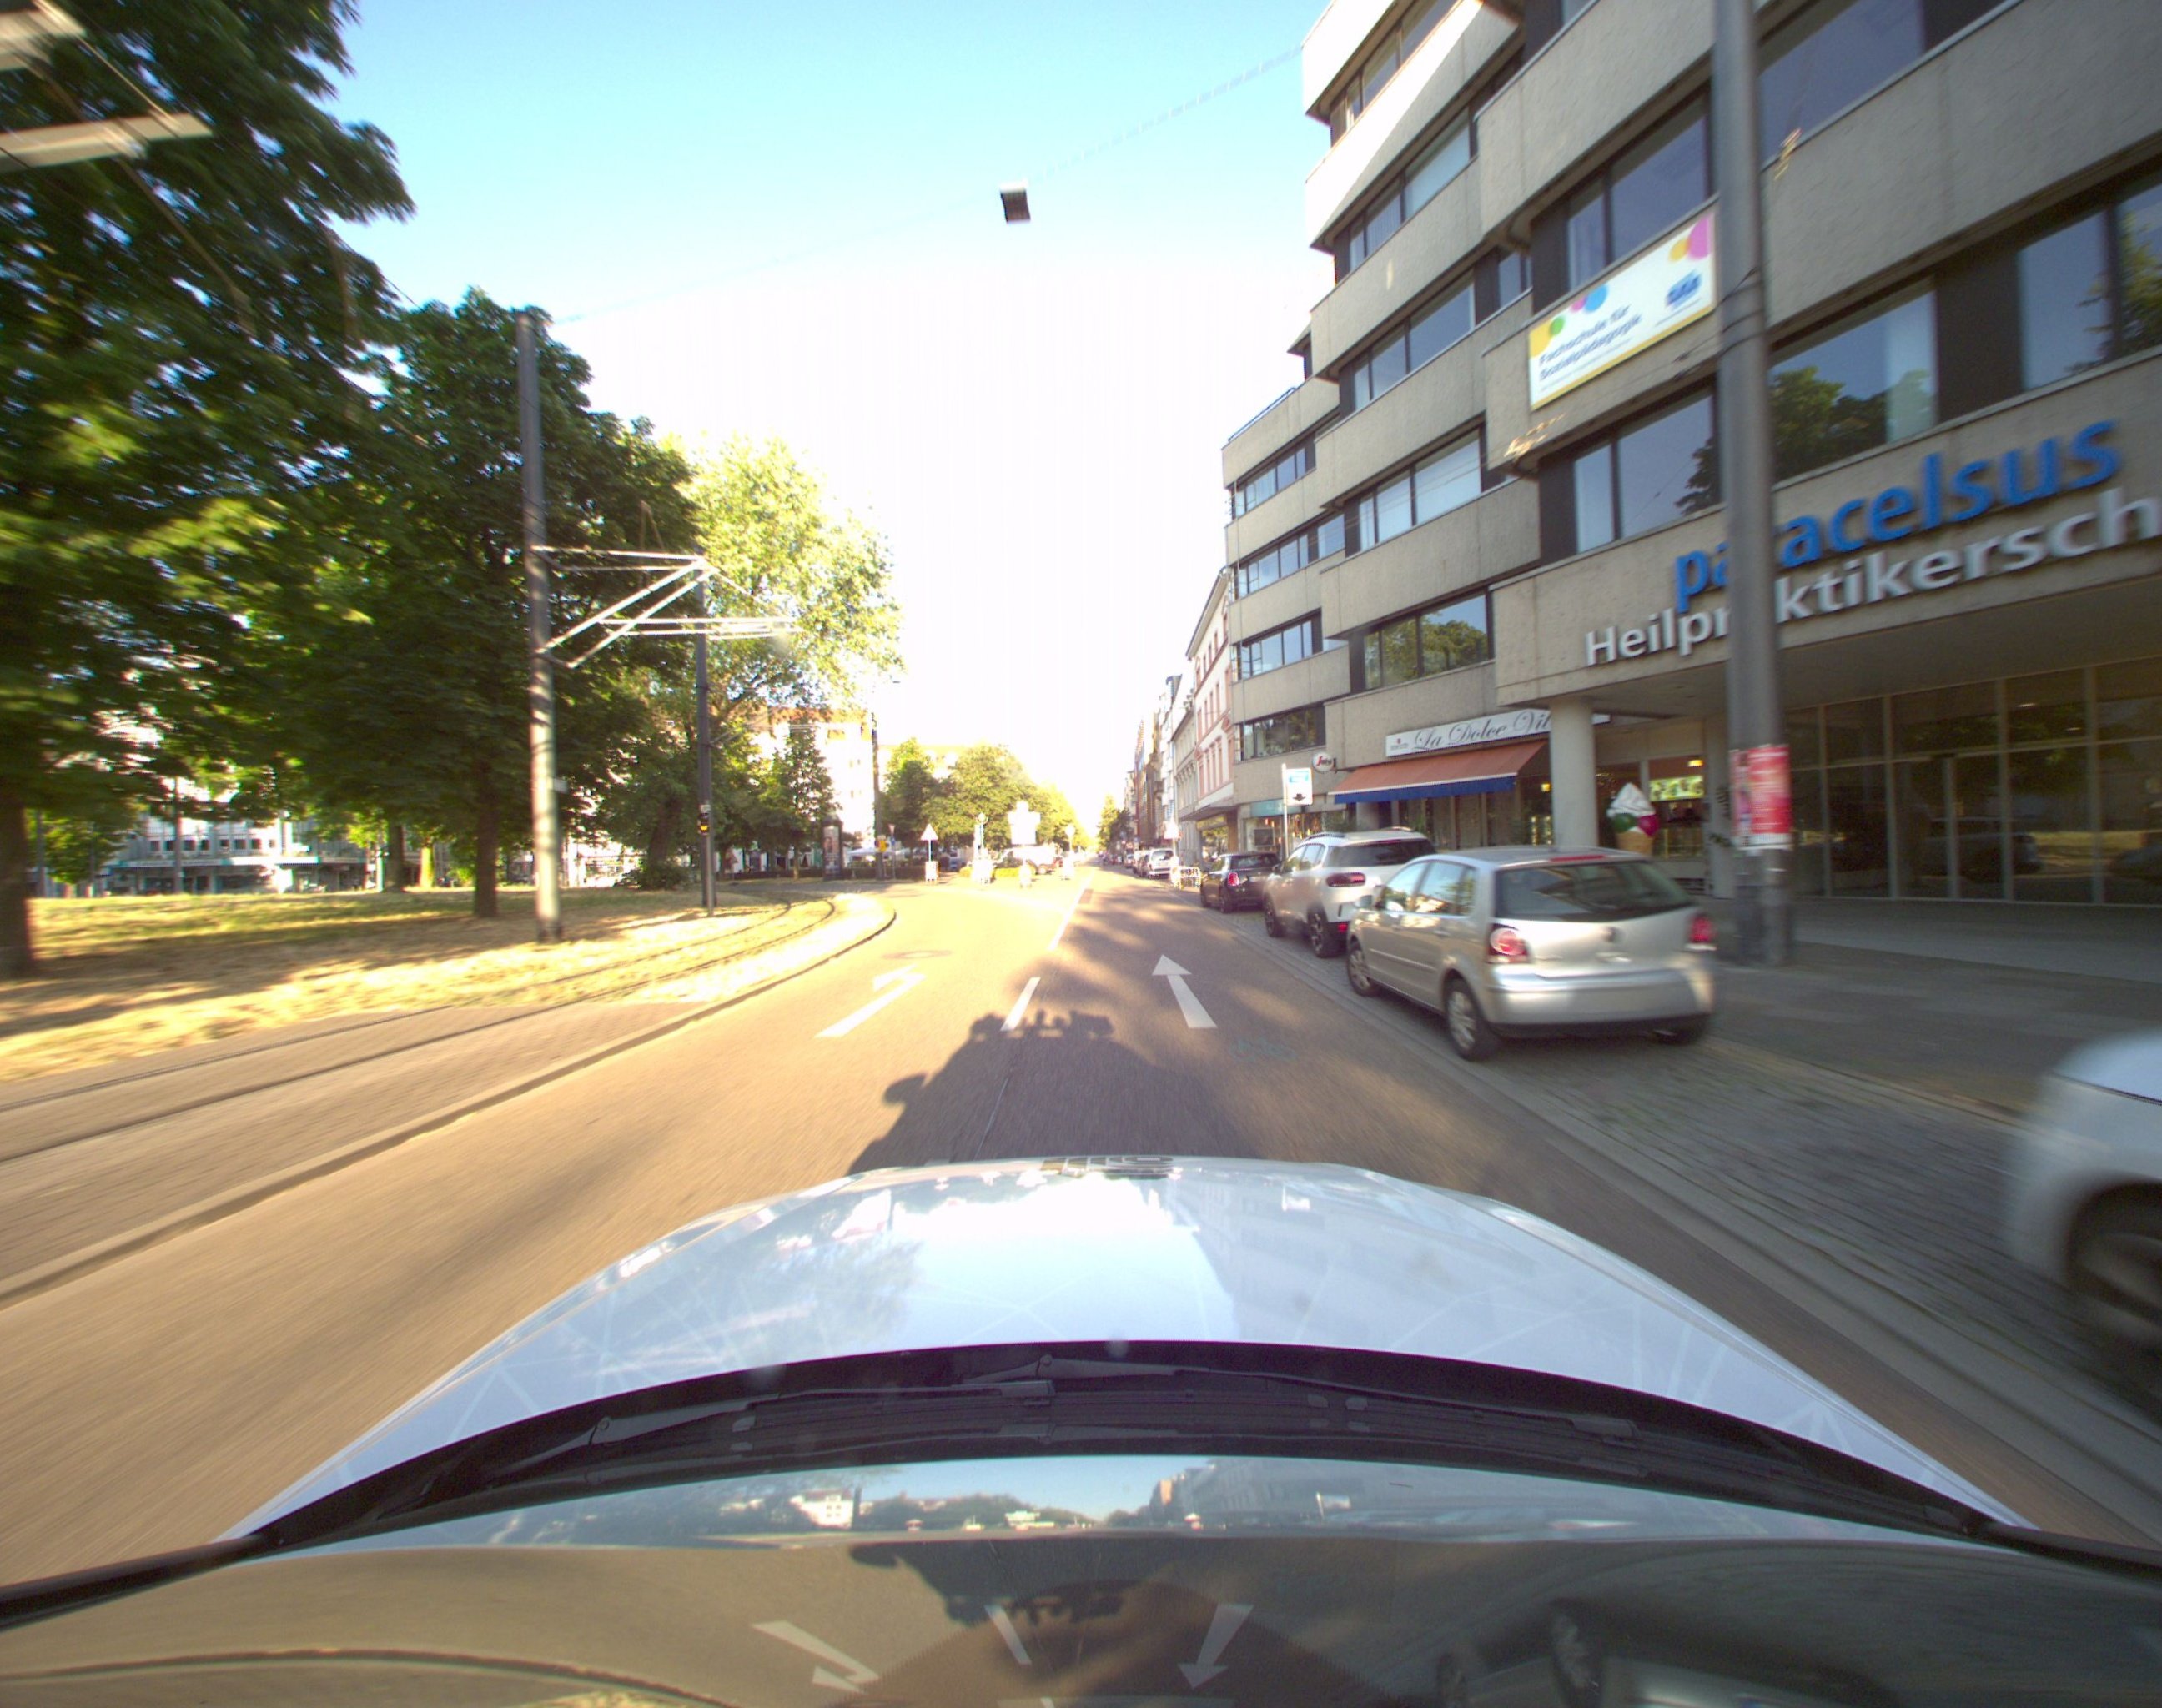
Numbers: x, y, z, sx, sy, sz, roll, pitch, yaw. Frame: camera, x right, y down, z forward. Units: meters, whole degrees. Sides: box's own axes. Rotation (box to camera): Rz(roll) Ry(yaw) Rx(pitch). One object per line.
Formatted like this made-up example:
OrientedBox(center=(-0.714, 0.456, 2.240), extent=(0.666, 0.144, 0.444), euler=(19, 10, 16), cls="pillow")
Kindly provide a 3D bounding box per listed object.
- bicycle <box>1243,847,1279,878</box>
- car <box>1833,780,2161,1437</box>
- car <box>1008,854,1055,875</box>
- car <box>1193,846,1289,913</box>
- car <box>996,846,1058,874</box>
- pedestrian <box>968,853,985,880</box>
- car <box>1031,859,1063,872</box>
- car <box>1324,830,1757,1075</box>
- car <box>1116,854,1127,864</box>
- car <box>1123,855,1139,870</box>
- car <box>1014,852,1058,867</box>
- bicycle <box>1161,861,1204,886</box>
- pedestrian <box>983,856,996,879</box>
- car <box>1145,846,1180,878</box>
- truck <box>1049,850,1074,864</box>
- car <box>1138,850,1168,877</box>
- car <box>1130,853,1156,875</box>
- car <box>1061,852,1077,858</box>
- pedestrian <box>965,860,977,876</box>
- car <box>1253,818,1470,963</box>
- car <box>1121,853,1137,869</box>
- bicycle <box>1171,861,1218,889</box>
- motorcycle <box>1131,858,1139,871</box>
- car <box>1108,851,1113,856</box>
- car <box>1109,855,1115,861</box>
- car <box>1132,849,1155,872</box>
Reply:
OrientedBox(center=(8.356, 0.400, 37.895), extent=(0.417, 1.277, 1.644), euler=(-1, -4, -41), cls="bicycle")
OrientedBox(center=(3.400, 0.611, 0.995), extent=(1.580, 1.590, 3.667), euler=(-1, 0, 0), cls="car")
OrientedBox(center=(-4.581, 0.995, 76.109), extent=(4.017, 1.878, 1.851), euler=(-1, 0, -35), cls="car")
OrientedBox(center=(3.930, 0.570, 20.619), extent=(1.783, 1.507, 3.923), euler=(-1, 0, 2), cls="car")
OrientedBox(center=(-4.400, 0.474, 66.526), extent=(4.622, 2.251, 2.184), euler=(-1, -1, -26), cls="car")
OrientedBox(center=(-6.215, 0.737, 48.398), extent=(0.702, 1.559, 0.687), euler=(-1, 0, -36), cls="pedestrian")
OrientedBox(center=(-4.851, 1.643, 117.099), extent=(4.434, 1.835, 2.034), euler=(-1, 0, 0), cls="car")
OrientedBox(center=(3.494, 0.617, 7.144), extent=(1.634, 1.528, 4.002), euler=(-1, 0, 2), cls="car")
OrientedBox(center=(6.951, 0.841, 140.375), extent=(1.572, 1.543, 3.394), euler=(-4, -1, -1), cls="car")
OrientedBox(center=(5.711, 0.933, 93.197), extent=(1.673, 1.561, 4.004), euler=(-3, 0, 4), cls="car")
OrientedBox(center=(-4.584, 0.539, 83.543), extent=(4.010, 1.486, 1.982), euler=(-1, 0, -28), cls="car")
OrientedBox(center=(4.635, 0.894, 37.091), extent=(1.771, 0.990, 0.545), euler=(-4, 1, 24), cls="bicycle")
OrientedBox(center=(-5.482, 0.826, 48.738), extent=(0.567, 1.364, 0.607), euler=(-1, 0, -36), cls="pedestrian")
OrientedBox(center=(4.856, 0.477, 48.970), extent=(1.786, 1.792, 4.093), euler=(-2, 0, 1), cls="car")
OrientedBox(center=(-3.895, 0.554, 162.906), extent=(4.924, 2.615, 2.000), euler=(-2, -1, 0), cls="truck")
OrientedBox(center=(4.773, 0.605, 54.275), extent=(1.651, 1.665, 4.108), euler=(-1, 0, 1), cls="car")
OrientedBox(center=(4.548, 0.740, 60.313), extent=(1.661, 1.544, 3.883), euler=(-1, 0, 1), cls="car")
OrientedBox(center=(-2.855, 0.221, 195.832), extent=(3.727, 1.492, 2.000), euler=(-1, 0, 0), cls="car")
OrientedBox(center=(-9.015, 1.174, 66.854), extent=(0.752, 1.277, 0.654), euler=(-1, 0, -36), cls="pedestrian")
OrientedBox(center=(3.995, 0.451, 12.438), extent=(1.778, 1.804, 4.400), euler=(-1, 0, 0), cls="car")
OrientedBox(center=(5.720, 0.840, 98.215), extent=(1.690, 1.769, 4.000), euler=(-2, 0, 1), cls="car")
OrientedBox(center=(4.632, 0.848, 33.133), extent=(1.775, 0.990, 0.544), euler=(-5, 1, 12), cls="bicycle")
OrientedBox(center=(5.056, 0.976, 76.587), extent=(0.586, 1.200, 2.210), euler=(-1, 0, 1), cls="motorcycle")
OrientedBox(center=(8.887, -0.100, 241.776), extent=(1.305, 1.600, 2.659), euler=(-1, -1, -1), cls="car")
OrientedBox(center=(6.578, 0.789, 172.275), extent=(1.203, 1.300, 2.659), euler=(-1, -1, -1), cls="car")
OrientedBox(center=(5.128, 0.536, 67.025), extent=(1.703, 1.835, 4.308), euler=(-1, 0, 2), cls="car")
